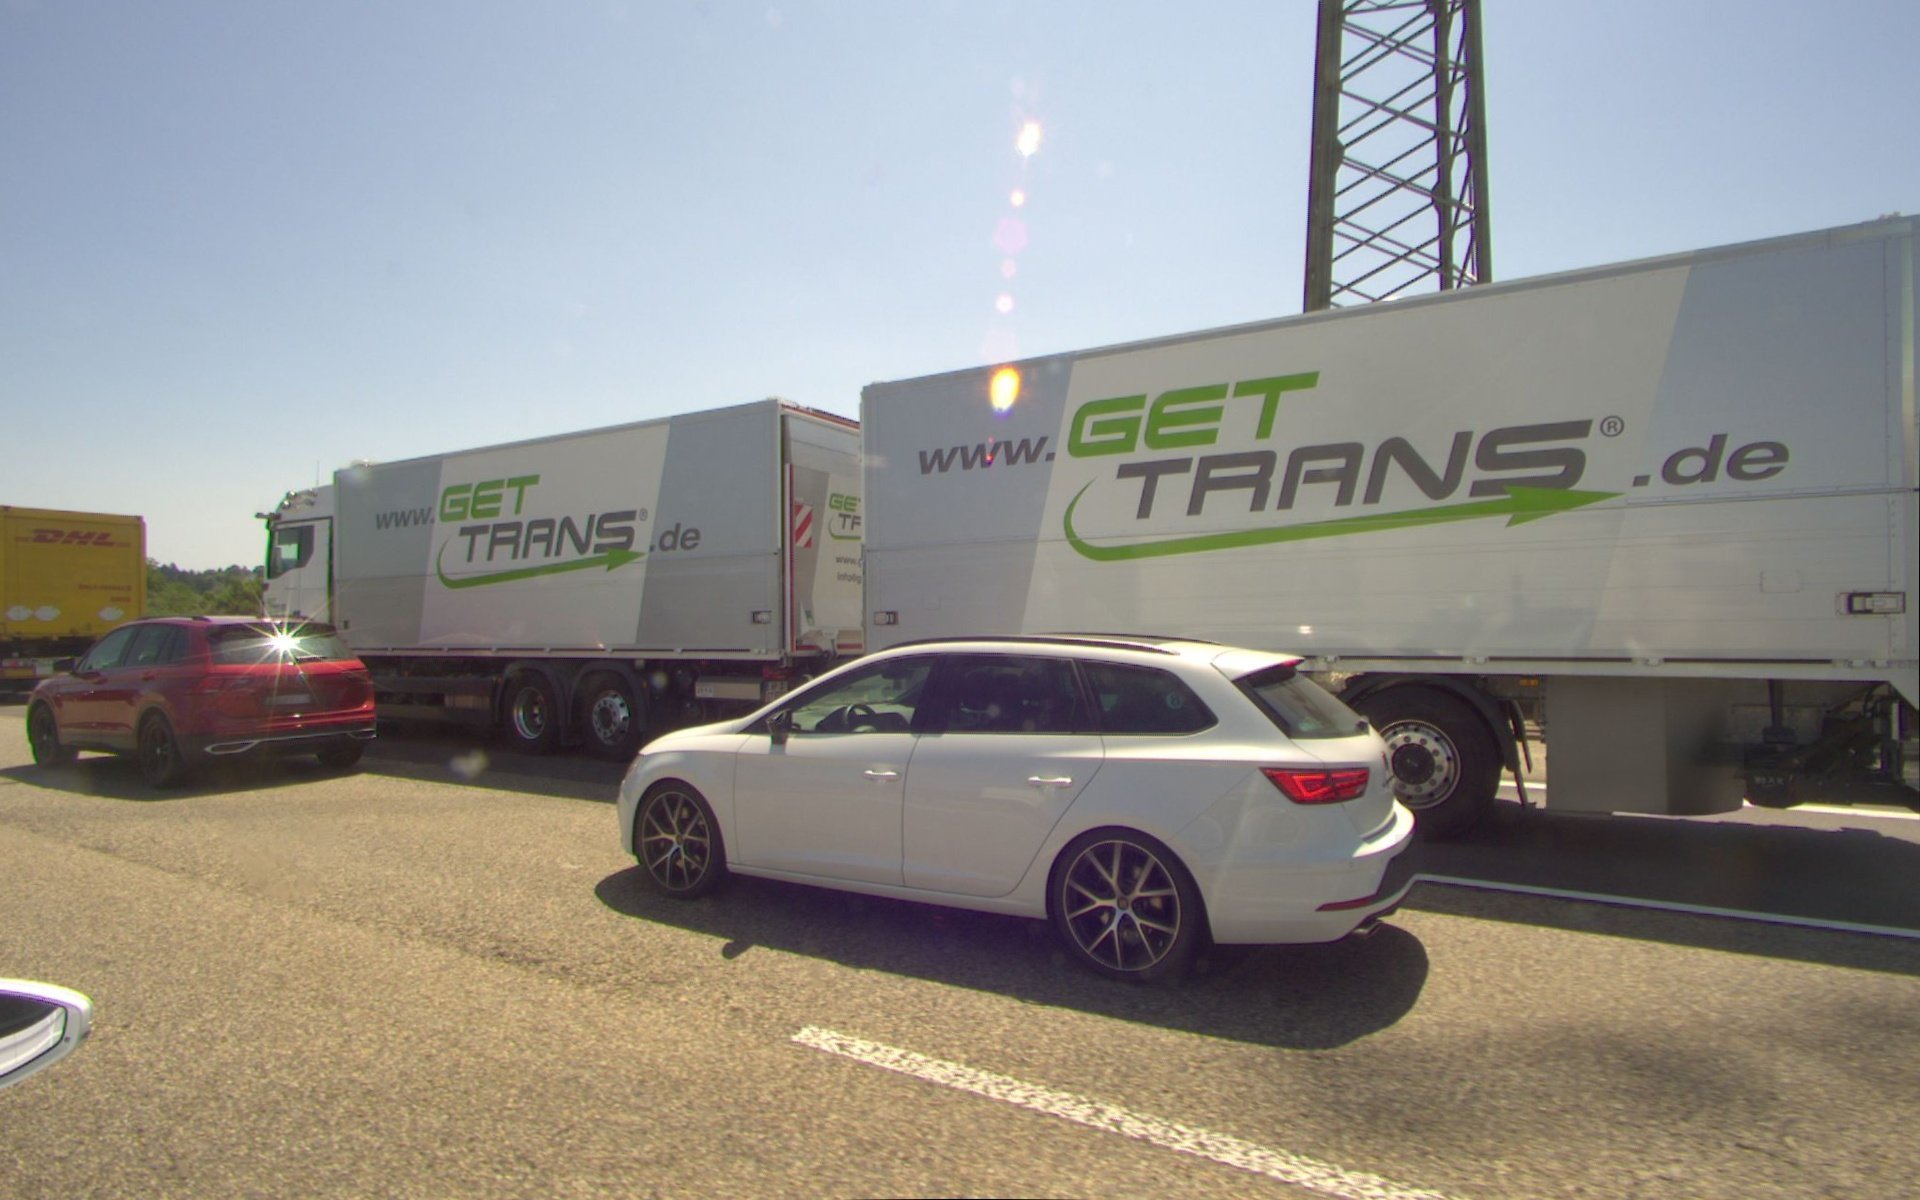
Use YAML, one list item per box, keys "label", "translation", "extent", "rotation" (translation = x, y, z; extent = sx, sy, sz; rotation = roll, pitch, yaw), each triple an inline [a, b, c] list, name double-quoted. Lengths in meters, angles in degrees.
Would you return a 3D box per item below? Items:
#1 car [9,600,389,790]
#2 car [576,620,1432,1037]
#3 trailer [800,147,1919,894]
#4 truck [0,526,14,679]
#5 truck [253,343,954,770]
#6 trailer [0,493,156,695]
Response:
- label: "car"
  translation: [-8.216, 0.929, 10.750]
  extent: [4.220, 1.700, 1.707]
  rotation: [-2, -2, 29]
- label: "car"
  translation: [0.069, 0.857, 5.418]
  extent: [4.364, 1.470, 1.706]
  rotation: [-1, -2, 31]
- label: "trailer"
  translation: [2.702, -0.290, 8.434]
  extent: [8.096, 3.940, 2.895]
  rotation: [-2, -2, 32]
- label: "truck"
  translation: [-30.758, 0.162, 28.721]
  extent: [9.794, 4.139, 2.696]
  rotation: [-2, -2, 31]
- label: "truck"
  translation: [-5.261, -0.237, 13.295]
  extent: [10.457, 3.984, 2.848]
  rotation: [-2, -2, 32]
- label: "trailer"
  translation: [-22.820, 0.025, 23.909]
  extent: [8.848, 4.139, 2.679]
  rotation: [-2, -2, 31]
